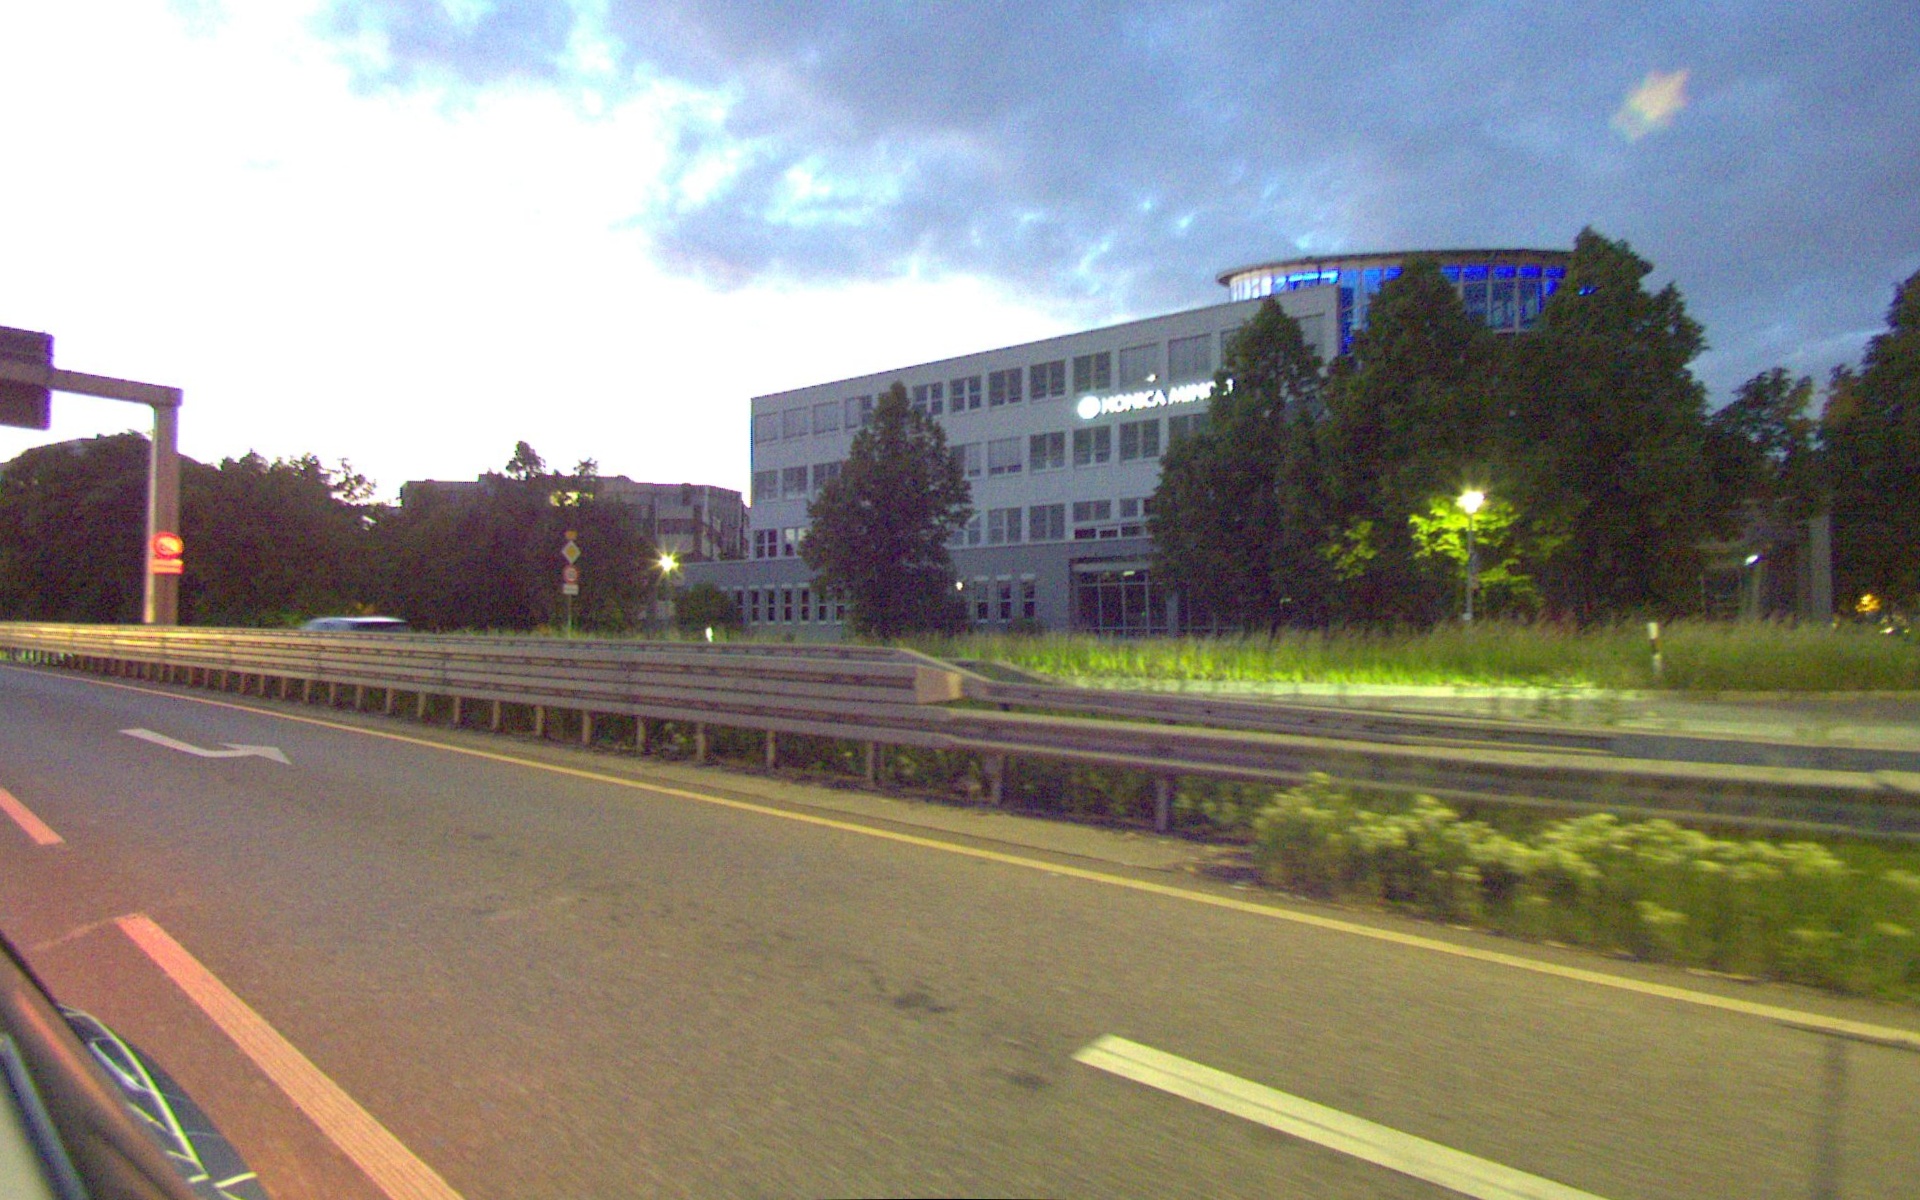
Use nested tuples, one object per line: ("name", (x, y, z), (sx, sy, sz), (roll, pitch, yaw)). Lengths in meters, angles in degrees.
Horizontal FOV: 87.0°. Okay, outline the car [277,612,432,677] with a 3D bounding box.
("car", (-15.348, 1.068, 25.560), (4.678, 1.493, 1.973), (-1, -1, 40))
